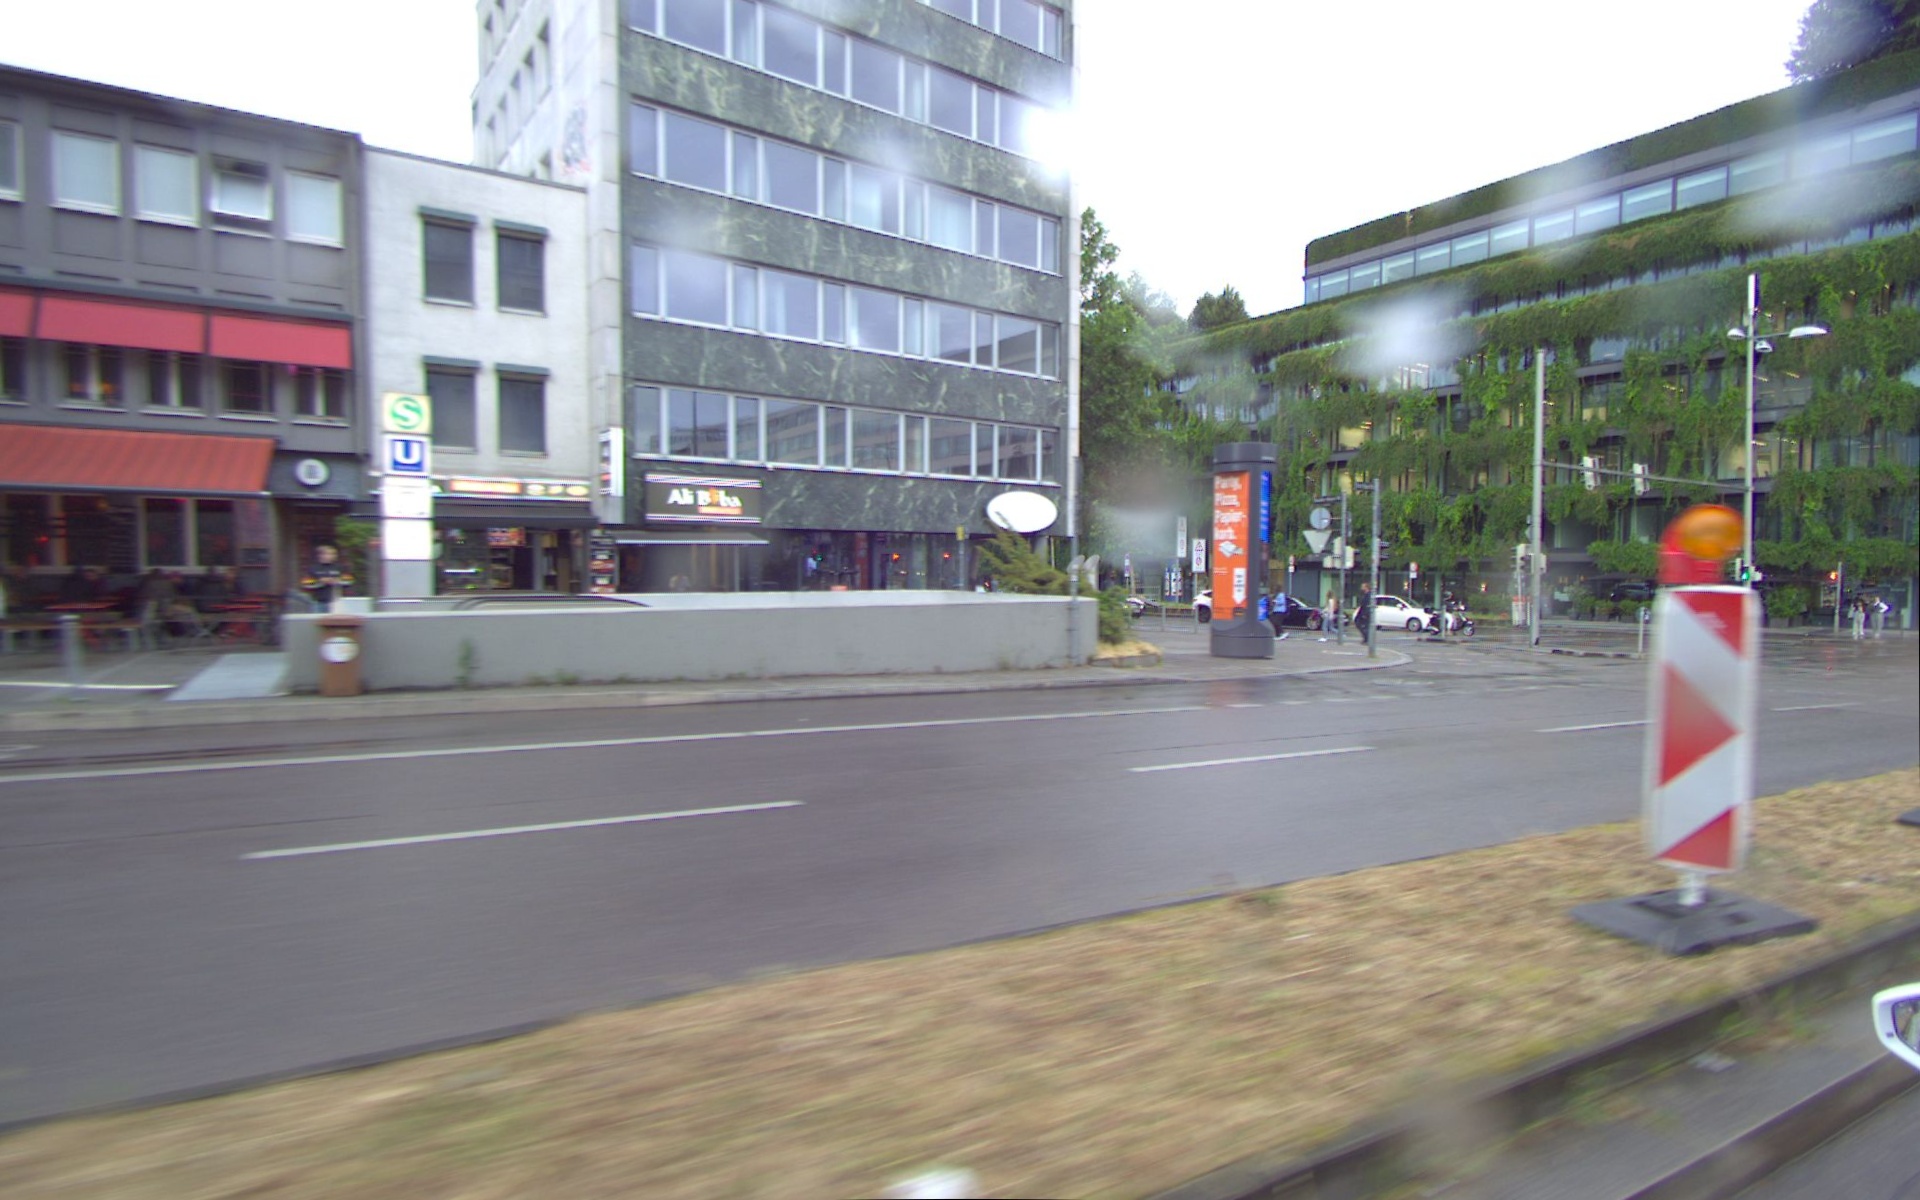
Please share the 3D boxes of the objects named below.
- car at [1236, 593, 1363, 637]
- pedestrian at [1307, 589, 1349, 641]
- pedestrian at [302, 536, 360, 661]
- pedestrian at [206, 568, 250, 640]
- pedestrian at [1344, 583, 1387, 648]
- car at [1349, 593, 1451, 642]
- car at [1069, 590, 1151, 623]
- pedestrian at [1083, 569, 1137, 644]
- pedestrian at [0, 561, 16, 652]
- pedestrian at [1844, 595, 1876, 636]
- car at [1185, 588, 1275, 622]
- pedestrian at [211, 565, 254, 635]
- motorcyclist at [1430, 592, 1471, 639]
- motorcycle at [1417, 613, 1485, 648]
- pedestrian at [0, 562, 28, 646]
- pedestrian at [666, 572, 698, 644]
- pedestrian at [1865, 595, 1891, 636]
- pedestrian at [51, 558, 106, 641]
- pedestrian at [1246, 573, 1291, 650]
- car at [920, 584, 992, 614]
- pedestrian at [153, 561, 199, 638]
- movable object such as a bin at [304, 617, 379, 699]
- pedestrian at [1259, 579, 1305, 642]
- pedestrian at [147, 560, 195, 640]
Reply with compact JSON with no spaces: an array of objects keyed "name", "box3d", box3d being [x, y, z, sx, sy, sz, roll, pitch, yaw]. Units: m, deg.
[{"name":"car","box3d":[14.336,0.597,42.605,1.957,1.674,4.755,0,1,-43]},{"name":"pedestrian","box3d":[11.658,0.482,31.813,0.912,1.606,0.827,1,1,-30]},{"name":"pedestrian","box3d":[-9.895,-0.030,15.803,0.750,1.911,0.685,0,1,-34]},{"name":"pedestrian","box3d":[-14.181,0.062,19.466,0.685,1.362,0.628,0,1,-37]},{"name":"pedestrian","box3d":[12.238,0.451,30.315,0.887,1.910,0.780,1,1,-30]},{"name":"car","box3d":[18.630,0.717,42.598,1.985,1.948,3.417,0,1,-42]},{"name":"car","box3d":[8.191,0.336,55.075,1.985,1.674,4.049,2,0,-42]},{"name":"pedestrian","box3d":[3.949,0.172,26.435,1.225,1.911,0.685,0,3,-34]},{"name":"pedestrian","box3d":[-15.941,0.099,16.372,0.700,1.470,0.685,0,1,-34]},{"name":"pedestrian","box3d":[40.726,0.691,45.451,0.923,1.781,1.167,2,1,37]},{"name":"car","box3d":[13.135,0.220,49.022,1.858,1.543,3.855,0,1,-42]},{"name":"pedestrian","box3d":[-14.585,-0.001,20.141,0.685,1.374,0.628,0,1,-37]},{"name":"motorcyclist","box3d":[18.753,0.577,38.402,1.173,1.726,0.843,2,1,44]},{"name":"motorcycle","box3d":[18.756,1.134,38.400,2.204,1.227,0.843,2,1,44]},{"name":"pedestrian","box3d":[-16.930,0.059,17.740,0.577,1.470,0.685,0,1,-33]},{"name":"pedestrian","box3d":[-7.499,0.198,27.065,0.586,1.911,0.750,0,2,-37]},{"name":"pedestrian","box3d":[41.221,0.686,45.125,0.731,1.781,0.972,2,1,37]},{"name":"pedestrian","box3d":[-16.083,-0.021,18.340,0.685,1.470,0.721,0,1,-37]},{"name":"pedestrian","box3d":[7.821,0.302,25.463,0.796,1.910,0.862,-3,-3,39]},{"name":"car","box3d":[-0.244,-0.077,59.170,1.985,1.674,4.187,0,1,-41]},{"name":"pedestrian","box3d":[-15.331,-0.013,19.644,0.685,1.470,0.628,0,1,-37]},{"name":"movable object such as a bin","box3d":[-7.167,0.653,11.646,0.677,0.909,0.527,0,0,-40]},{"name":"pedestrian","box3d":[9.954,0.317,31.056,0.868,1.879,1.015,0,1,-34]},{"name":"pedestrian","box3d":[-14.835,0.000,18.899,0.685,1.470,0.628,0,1,-37]}]
